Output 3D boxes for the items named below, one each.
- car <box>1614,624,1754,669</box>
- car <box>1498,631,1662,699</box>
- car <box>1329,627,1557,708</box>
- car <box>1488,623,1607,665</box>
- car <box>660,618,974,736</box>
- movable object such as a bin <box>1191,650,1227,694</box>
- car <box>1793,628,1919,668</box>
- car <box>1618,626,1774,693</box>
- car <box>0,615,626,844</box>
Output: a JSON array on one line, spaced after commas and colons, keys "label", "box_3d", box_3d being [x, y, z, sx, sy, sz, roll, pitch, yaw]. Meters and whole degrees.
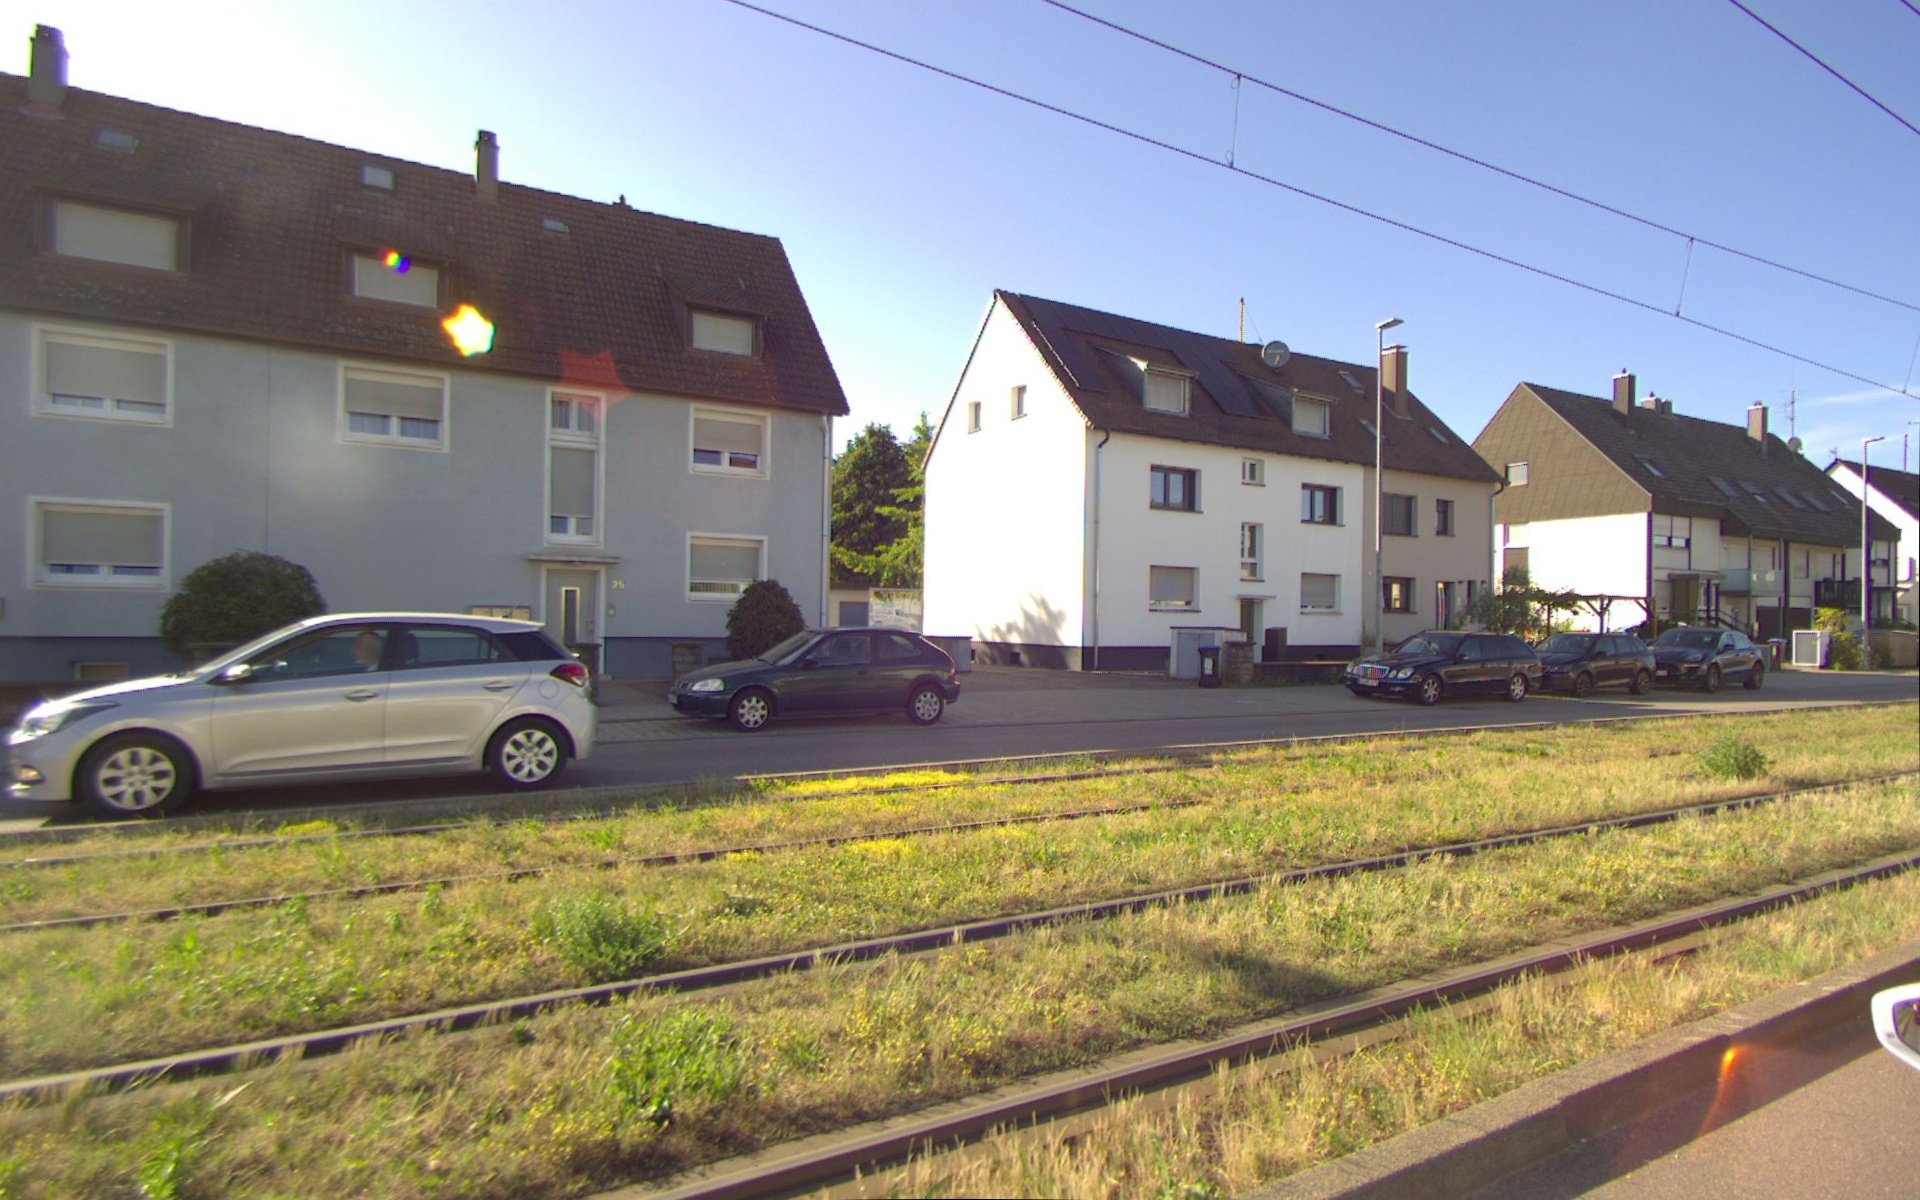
[{"label": "car", "box_3d": [28.277, 1.779, 39.359, 1.740, 1.638, 4.142, 1, -1, -32]}, {"label": "car", "box_3d": [14.875, 1.504, 24.046, 4.149, 1.494, 1.514, 1, -1, -29]}, {"label": "car", "box_3d": [10.378, 1.402, 21.502, 4.818, 1.543, 1.870, 2, -1, -27]}, {"label": "car", "box_3d": [25.265, 1.854, 43.366, 1.832, 1.676, 4.145, 1, -1, -26]}, {"label": "car", "box_3d": [-2.020, 1.025, 14.416, 4.115, 1.482, 1.783, 1, -1, -29]}, {"label": "movable object such as a bin", "box_3d": [5.496, 1.591, 22.165, 0.696, 0.939, 0.386, 3, -2, -31]}, {"label": "car", "box_3d": [38.439, 2.038, 43.091, 1.718, 1.589, 3.876, 2, -2, -35]}, {"label": "car", "box_3d": [19.627, 1.529, 26.725, 4.760, 1.618, 1.793, 1, -1, -33]}, {"label": "car", "box_3d": [-5.012, 0.953, 8.339, 3.976, 1.510, 1.701, 3, -2, -29]}]
